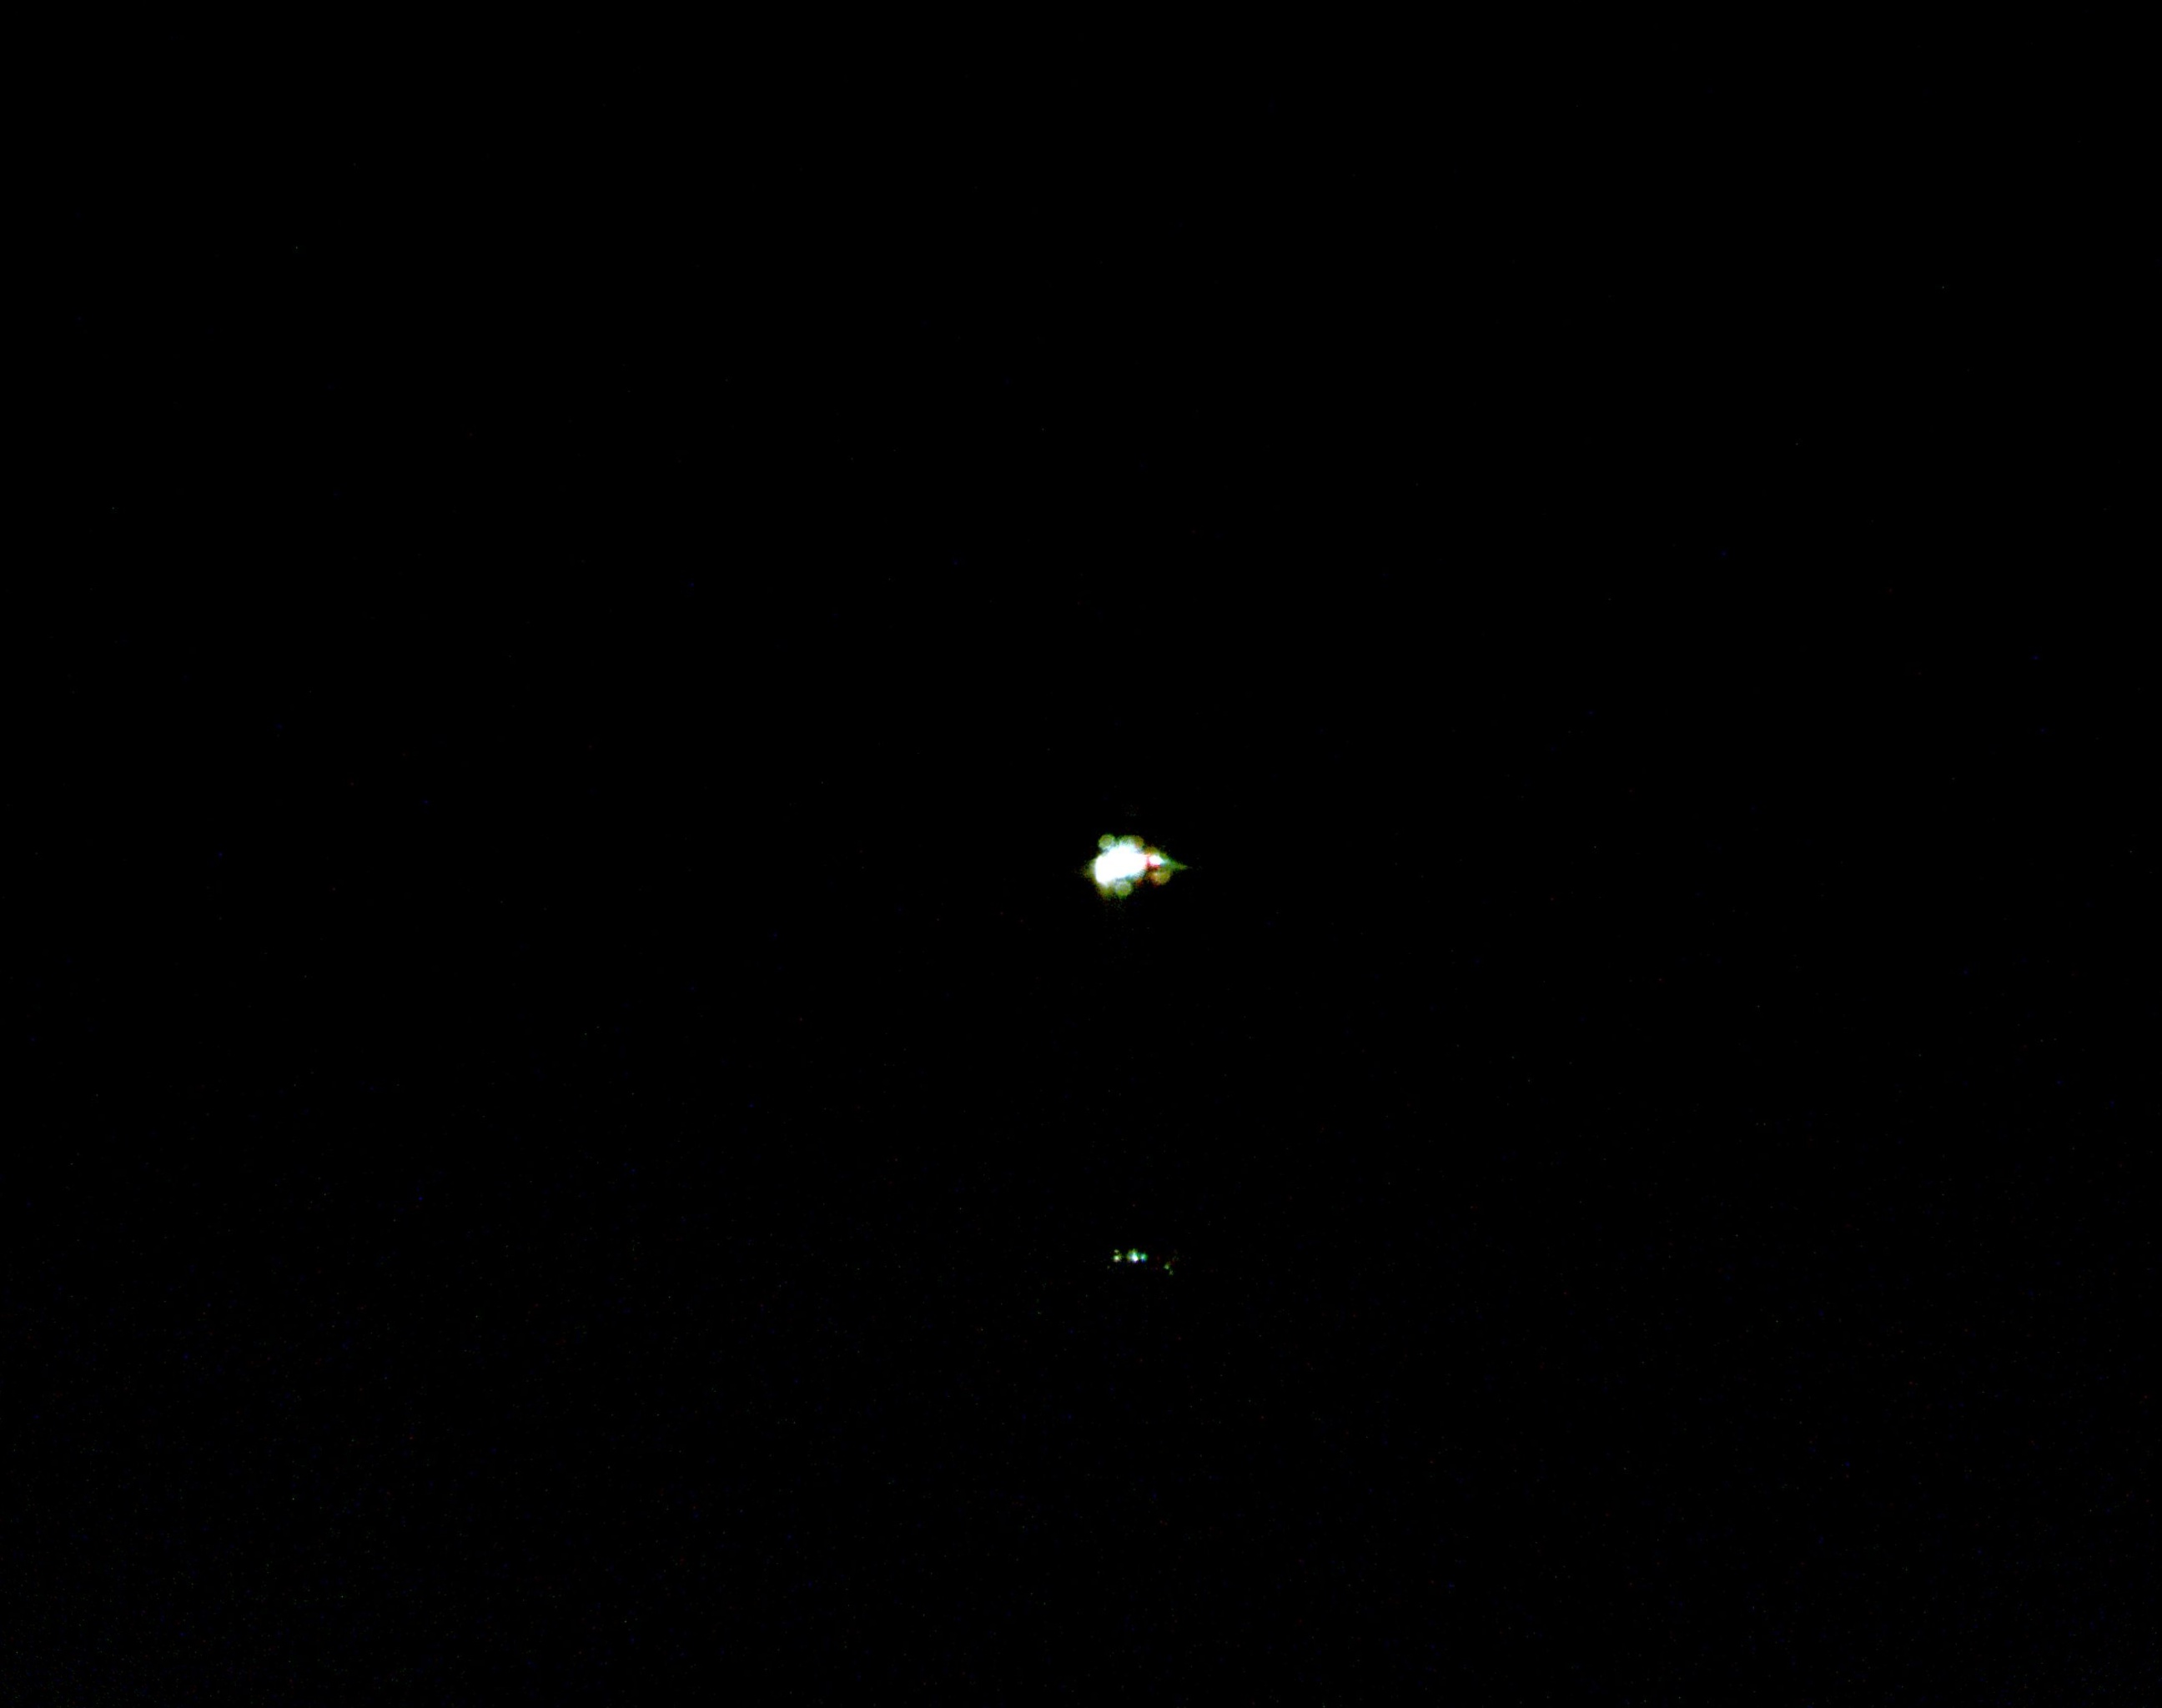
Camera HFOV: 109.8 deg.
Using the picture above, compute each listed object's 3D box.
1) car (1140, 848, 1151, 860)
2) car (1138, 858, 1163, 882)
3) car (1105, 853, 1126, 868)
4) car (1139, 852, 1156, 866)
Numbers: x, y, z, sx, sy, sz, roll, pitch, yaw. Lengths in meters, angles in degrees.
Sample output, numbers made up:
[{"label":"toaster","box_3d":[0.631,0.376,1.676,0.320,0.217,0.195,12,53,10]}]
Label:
[{"label":"car","box_3d":[12.818,0.025,151.552,1.998,2.259,5.469,-2,-1,4]},{"label":"car","box_3d":[6.049,1.356,66.184,1.998,2.001,4.002,-2,-1,5]},{"label":"car","box_3d":[4.031,0.758,87.841,1.877,1.578,4.892,-2,0,8]},{"label":"car","box_3d":[7.939,0.604,91.325,1.930,1.565,4.349,-2,-1,5]}]
